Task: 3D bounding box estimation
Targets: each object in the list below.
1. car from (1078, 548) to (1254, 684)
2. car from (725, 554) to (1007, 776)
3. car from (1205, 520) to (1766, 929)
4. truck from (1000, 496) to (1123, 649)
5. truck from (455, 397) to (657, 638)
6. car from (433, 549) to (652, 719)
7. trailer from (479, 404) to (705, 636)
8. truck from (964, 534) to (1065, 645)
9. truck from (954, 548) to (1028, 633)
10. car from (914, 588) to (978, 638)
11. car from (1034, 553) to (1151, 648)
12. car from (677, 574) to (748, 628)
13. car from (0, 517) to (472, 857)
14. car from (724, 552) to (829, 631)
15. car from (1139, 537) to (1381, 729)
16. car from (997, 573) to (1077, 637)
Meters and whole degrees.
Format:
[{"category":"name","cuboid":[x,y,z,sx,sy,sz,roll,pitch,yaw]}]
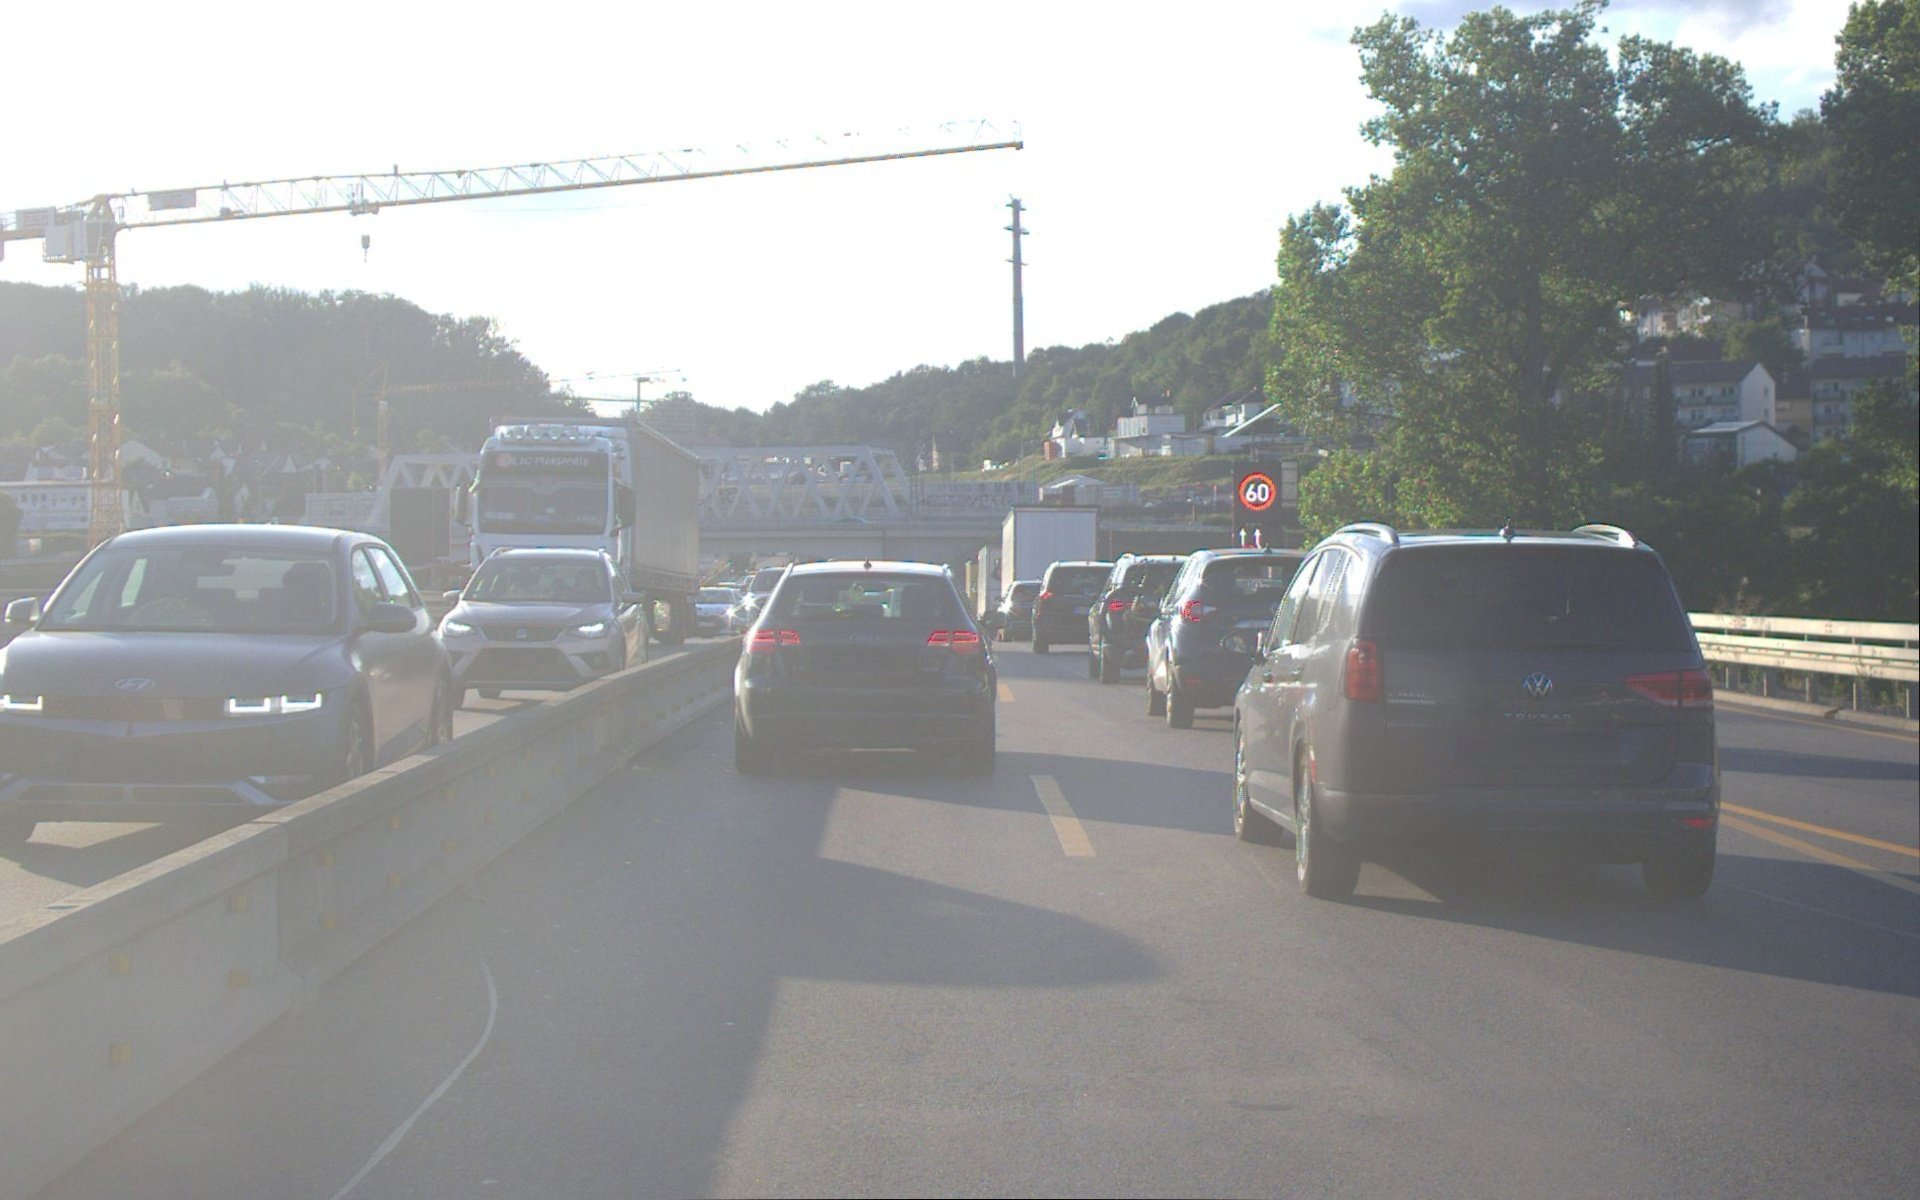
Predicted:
[{"category":"car","cuboid":[2.516,0.209,42.979,1.875,1.594,4.965,0,-1,0]},{"category":"car","cuboid":[-0.671,0.424,23.941,1.770,1.385,4.000,1,0,-2]},{"category":"car","cuboid":[2.319,0.467,16.386,1.812,1.609,4.526,2,1,-1]},{"category":"truck","cuboid":[3.097,-1.035,109.662,3.385,4.483,15.268,1,2,0]},{"category":"truck","cuboid":[-6.995,-1.386,60.192,2.814,4.035,5.672,0,0,1]},{"category":"car","cuboid":[-4.021,0.320,33.650,1.766,1.529,4.000,1,0,-2]},{"category":"trailer","cuboid":[-6.940,-1.417,66.971,2.814,4.037,14.021,0,0,0]},{"category":"truck","cuboid":[2.251,-0.510,149.254,3.890,4.483,15.267,1,1,-1]},{"category":"truck","cuboid":[1.742,-0.599,191.982,3.890,4.483,13.848,1,1,1]},{"category":"car","cuboid":[-0.422,0.388,104.057,1.863,1.415,4.000,2,0,-1]},{"category":"car","cuboid":[2.341,0.019,61.728,1.814,1.627,4.411,1,0,-1]},{"category":"car","cuboid":[-6.864,0.015,95.527,1.701,1.441,4.000,0,0,0]},{"category":"car","cuboid":[-3.790,0.380,18.447,1.743,1.578,4.706,1,1,-1]},{"category":"car","cuboid":[-3.878,-0.179,73.204,1.993,1.614,4.605,0,0,0]},{"category":"car","cuboid":[2.629,0.264,30.919,1.774,1.580,4.135,1,0,0]},{"category":"car","cuboid":[1.945,0.135,87.742,1.770,1.547,4.000,2,0,-2]}]
